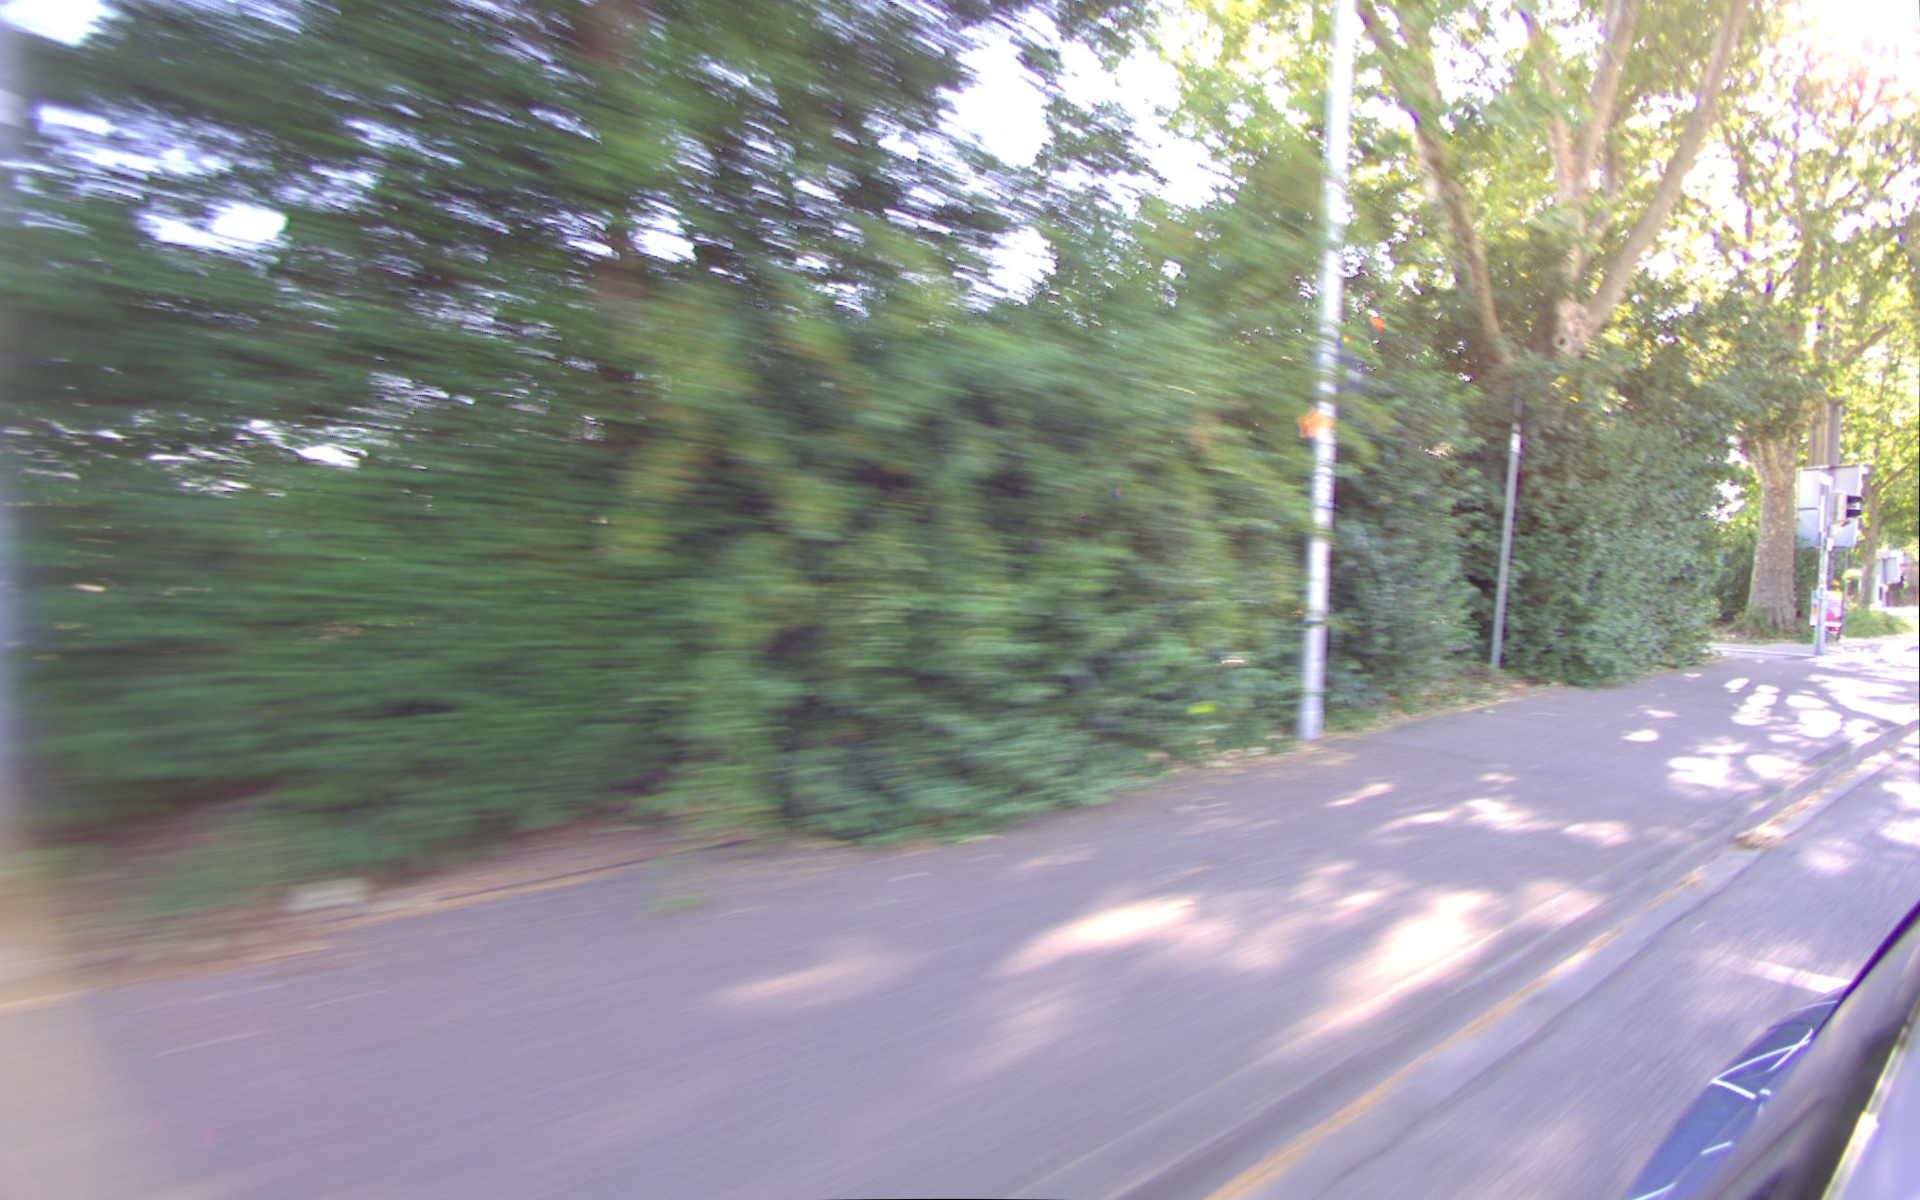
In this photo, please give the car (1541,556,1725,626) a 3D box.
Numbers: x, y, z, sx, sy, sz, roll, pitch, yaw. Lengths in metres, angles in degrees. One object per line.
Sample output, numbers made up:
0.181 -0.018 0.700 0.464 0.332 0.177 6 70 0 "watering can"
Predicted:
19.194 -0.311 28.988 1.800 1.786 3.997 0 3 -39 "car"
